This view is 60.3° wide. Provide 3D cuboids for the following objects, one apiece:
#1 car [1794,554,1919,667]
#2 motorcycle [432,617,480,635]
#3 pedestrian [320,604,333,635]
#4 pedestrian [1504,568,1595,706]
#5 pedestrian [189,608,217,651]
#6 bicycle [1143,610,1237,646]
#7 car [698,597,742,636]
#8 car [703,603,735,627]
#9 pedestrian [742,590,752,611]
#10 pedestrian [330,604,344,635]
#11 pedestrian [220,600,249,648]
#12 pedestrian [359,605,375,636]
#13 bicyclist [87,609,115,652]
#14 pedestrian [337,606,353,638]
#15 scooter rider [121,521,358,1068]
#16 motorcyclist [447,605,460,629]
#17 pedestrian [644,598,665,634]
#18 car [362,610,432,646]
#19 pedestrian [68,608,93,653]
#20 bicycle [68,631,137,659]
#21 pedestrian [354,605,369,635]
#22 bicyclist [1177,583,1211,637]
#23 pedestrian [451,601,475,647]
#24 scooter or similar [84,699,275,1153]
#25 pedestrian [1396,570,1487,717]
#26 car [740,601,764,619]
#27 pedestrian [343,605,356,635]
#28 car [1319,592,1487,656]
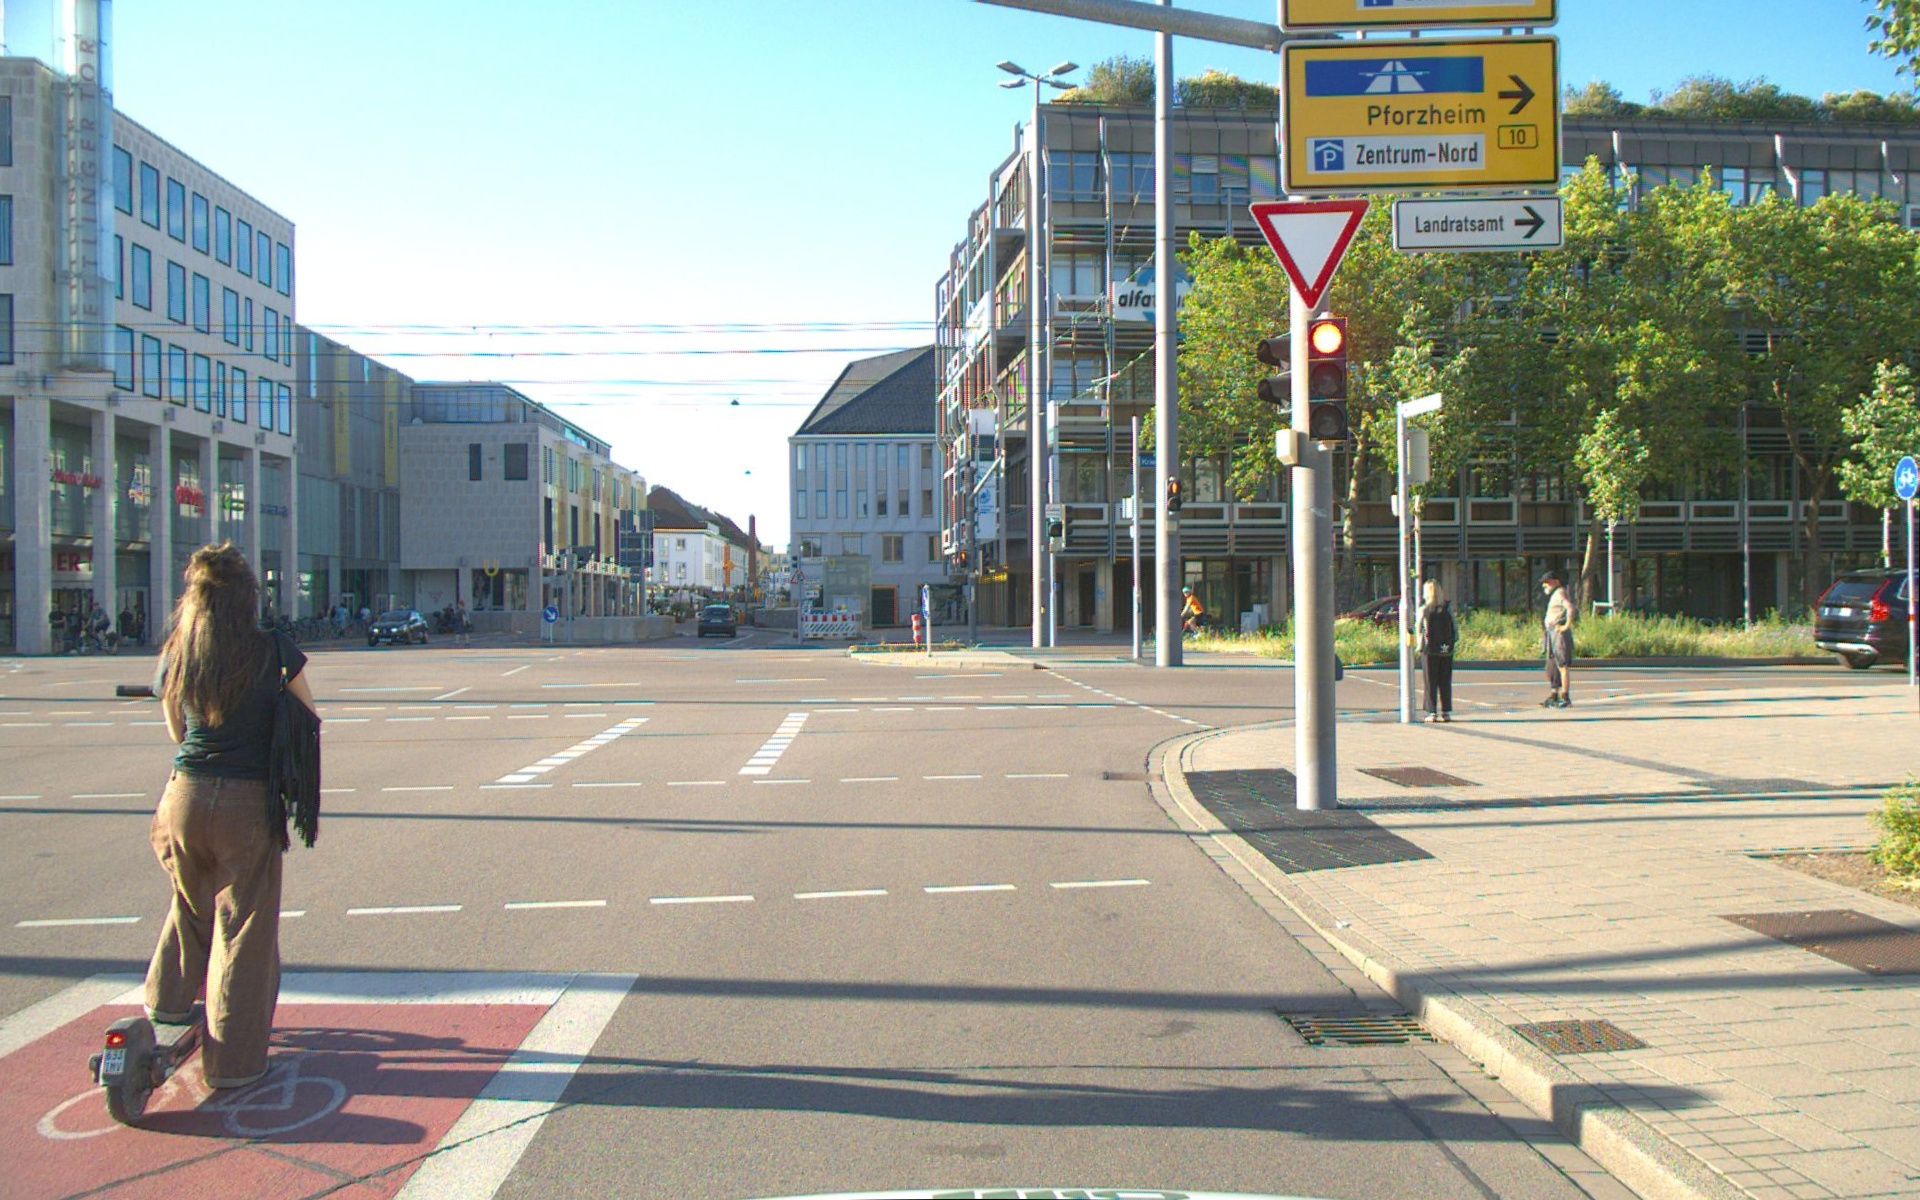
[{"bbox_3d":[17.342,0.153,28.944,4.727,1.896,1.882,-1,0,-9],"label":"car"},{"bbox_3d":[-29.729,1.560,97.654,2.555,1.010,1.113,1,0,-10],"label":"motorcycle"},{"bbox_3d":[-36.011,1.129,94.000,0.462,1.759,0.518,0,-1,38],"label":"pedestrian"},{"bbox_3d":[7.563,0.466,21.250,0.854,1.736,0.768,-1,0,-3],"label":"pedestrian"},{"bbox_3d":[-29.790,1.173,65.082,0.760,1.667,0.626,-1,0,17],"label":"pedestrian"},{"bbox_3d":[6.551,0.798,47.196,2.517,0.992,1.047,-1,0,-4],"label":"bicycle"},{"bbox_3d":[-11.046,0.749,76.423,1.784,1.713,3.996,-1,0,-5],"label":"car"},{"bbox_3d":[-15.699,0.970,107.815,1.625,1.484,3.541,-1,0,-1],"label":"car"},{"bbox_3d":[-21.154,0.061,164.353,0.892,1.999,0.822,1,-1,-1],"label":"pedestrian"},{"bbox_3d":[-36.051,1.136,95.714,0.462,1.759,0.518,0,-1,38],"label":"pedestrian"},{"bbox_3d":[-28.668,0.958,65.358,0.923,1.897,0.539,-1,0,16],"label":"pedestrian"},{"bbox_3d":[-33.577,1.170,93.618,0.462,1.759,0.692,0,-1,37],"label":"pedestrian"},{"bbox_3d":[-30.133,1.063,58.021,0.614,1.473,0.588,-1,0,26],"label":"bicyclist"},{"bbox_3d":[-34.494,1.231,92.745,0.462,1.759,0.626,1,-1,33],"label":"pedestrian"},{"bbox_3d":[-2.150,0.552,4.978,0.542,1.556,0.448,-1,0,-9],"label":"scooter rider"},{"bbox_3d":[-29.961,0.995,97.762,0.616,1.430,0.661,1,-1,-9],"label":"motorcyclist"},{"bbox_3d":[-15.525,0.792,84.051,0.881,1.814,0.808,0,0,-1],"label":"pedestrian"},{"bbox_3d":[-23.585,1.154,69.415,1.642,1.381,4.019,-1,0,-2],"label":"car"},{"bbox_3d":[-32.758,1.125,61.600,0.580,1.674,0.629,-1,0,-1],"label":"pedestrian"},{"bbox_3d":[-30.102,1.572,58.095,0.623,0.919,2.216,-1,0,26],"label":"bicycle"},{"bbox_3d":[-34.618,1.160,95.649,0.461,1.759,0.627,1,-1,28],"label":"pedestrian"},{"bbox_3d":[6.675,0.280,47.215,0.806,1.500,0.652,-1,0,-5],"label":"bicyclist"},{"bbox_3d":[-18.902,0.912,62.902,0.685,1.718,0.619,-1,0,0],"label":"pedestrian"},{"bbox_3d":[-2.218,0.876,4.751,0.301,1.127,0.836,-1,0,-12],"label":"scooter or similar"},{"bbox_3d":[5.526,0.489,19.023,0.750,1.642,0.874,-1,0,-2],"label":"pedestrian"},{"bbox_3d":[-18.291,0.878,145.540,1.625,1.484,3.541,-1,0,-1],"label":"car"},{"bbox_3d":[-35.292,1.162,95.570,0.462,1.712,0.518,0,-1,38],"label":"pedestrian"},{"bbox_3d":[12.455,0.649,46.610,4.212,1.713,1.820,-1,0,-11],"label":"car"}]
